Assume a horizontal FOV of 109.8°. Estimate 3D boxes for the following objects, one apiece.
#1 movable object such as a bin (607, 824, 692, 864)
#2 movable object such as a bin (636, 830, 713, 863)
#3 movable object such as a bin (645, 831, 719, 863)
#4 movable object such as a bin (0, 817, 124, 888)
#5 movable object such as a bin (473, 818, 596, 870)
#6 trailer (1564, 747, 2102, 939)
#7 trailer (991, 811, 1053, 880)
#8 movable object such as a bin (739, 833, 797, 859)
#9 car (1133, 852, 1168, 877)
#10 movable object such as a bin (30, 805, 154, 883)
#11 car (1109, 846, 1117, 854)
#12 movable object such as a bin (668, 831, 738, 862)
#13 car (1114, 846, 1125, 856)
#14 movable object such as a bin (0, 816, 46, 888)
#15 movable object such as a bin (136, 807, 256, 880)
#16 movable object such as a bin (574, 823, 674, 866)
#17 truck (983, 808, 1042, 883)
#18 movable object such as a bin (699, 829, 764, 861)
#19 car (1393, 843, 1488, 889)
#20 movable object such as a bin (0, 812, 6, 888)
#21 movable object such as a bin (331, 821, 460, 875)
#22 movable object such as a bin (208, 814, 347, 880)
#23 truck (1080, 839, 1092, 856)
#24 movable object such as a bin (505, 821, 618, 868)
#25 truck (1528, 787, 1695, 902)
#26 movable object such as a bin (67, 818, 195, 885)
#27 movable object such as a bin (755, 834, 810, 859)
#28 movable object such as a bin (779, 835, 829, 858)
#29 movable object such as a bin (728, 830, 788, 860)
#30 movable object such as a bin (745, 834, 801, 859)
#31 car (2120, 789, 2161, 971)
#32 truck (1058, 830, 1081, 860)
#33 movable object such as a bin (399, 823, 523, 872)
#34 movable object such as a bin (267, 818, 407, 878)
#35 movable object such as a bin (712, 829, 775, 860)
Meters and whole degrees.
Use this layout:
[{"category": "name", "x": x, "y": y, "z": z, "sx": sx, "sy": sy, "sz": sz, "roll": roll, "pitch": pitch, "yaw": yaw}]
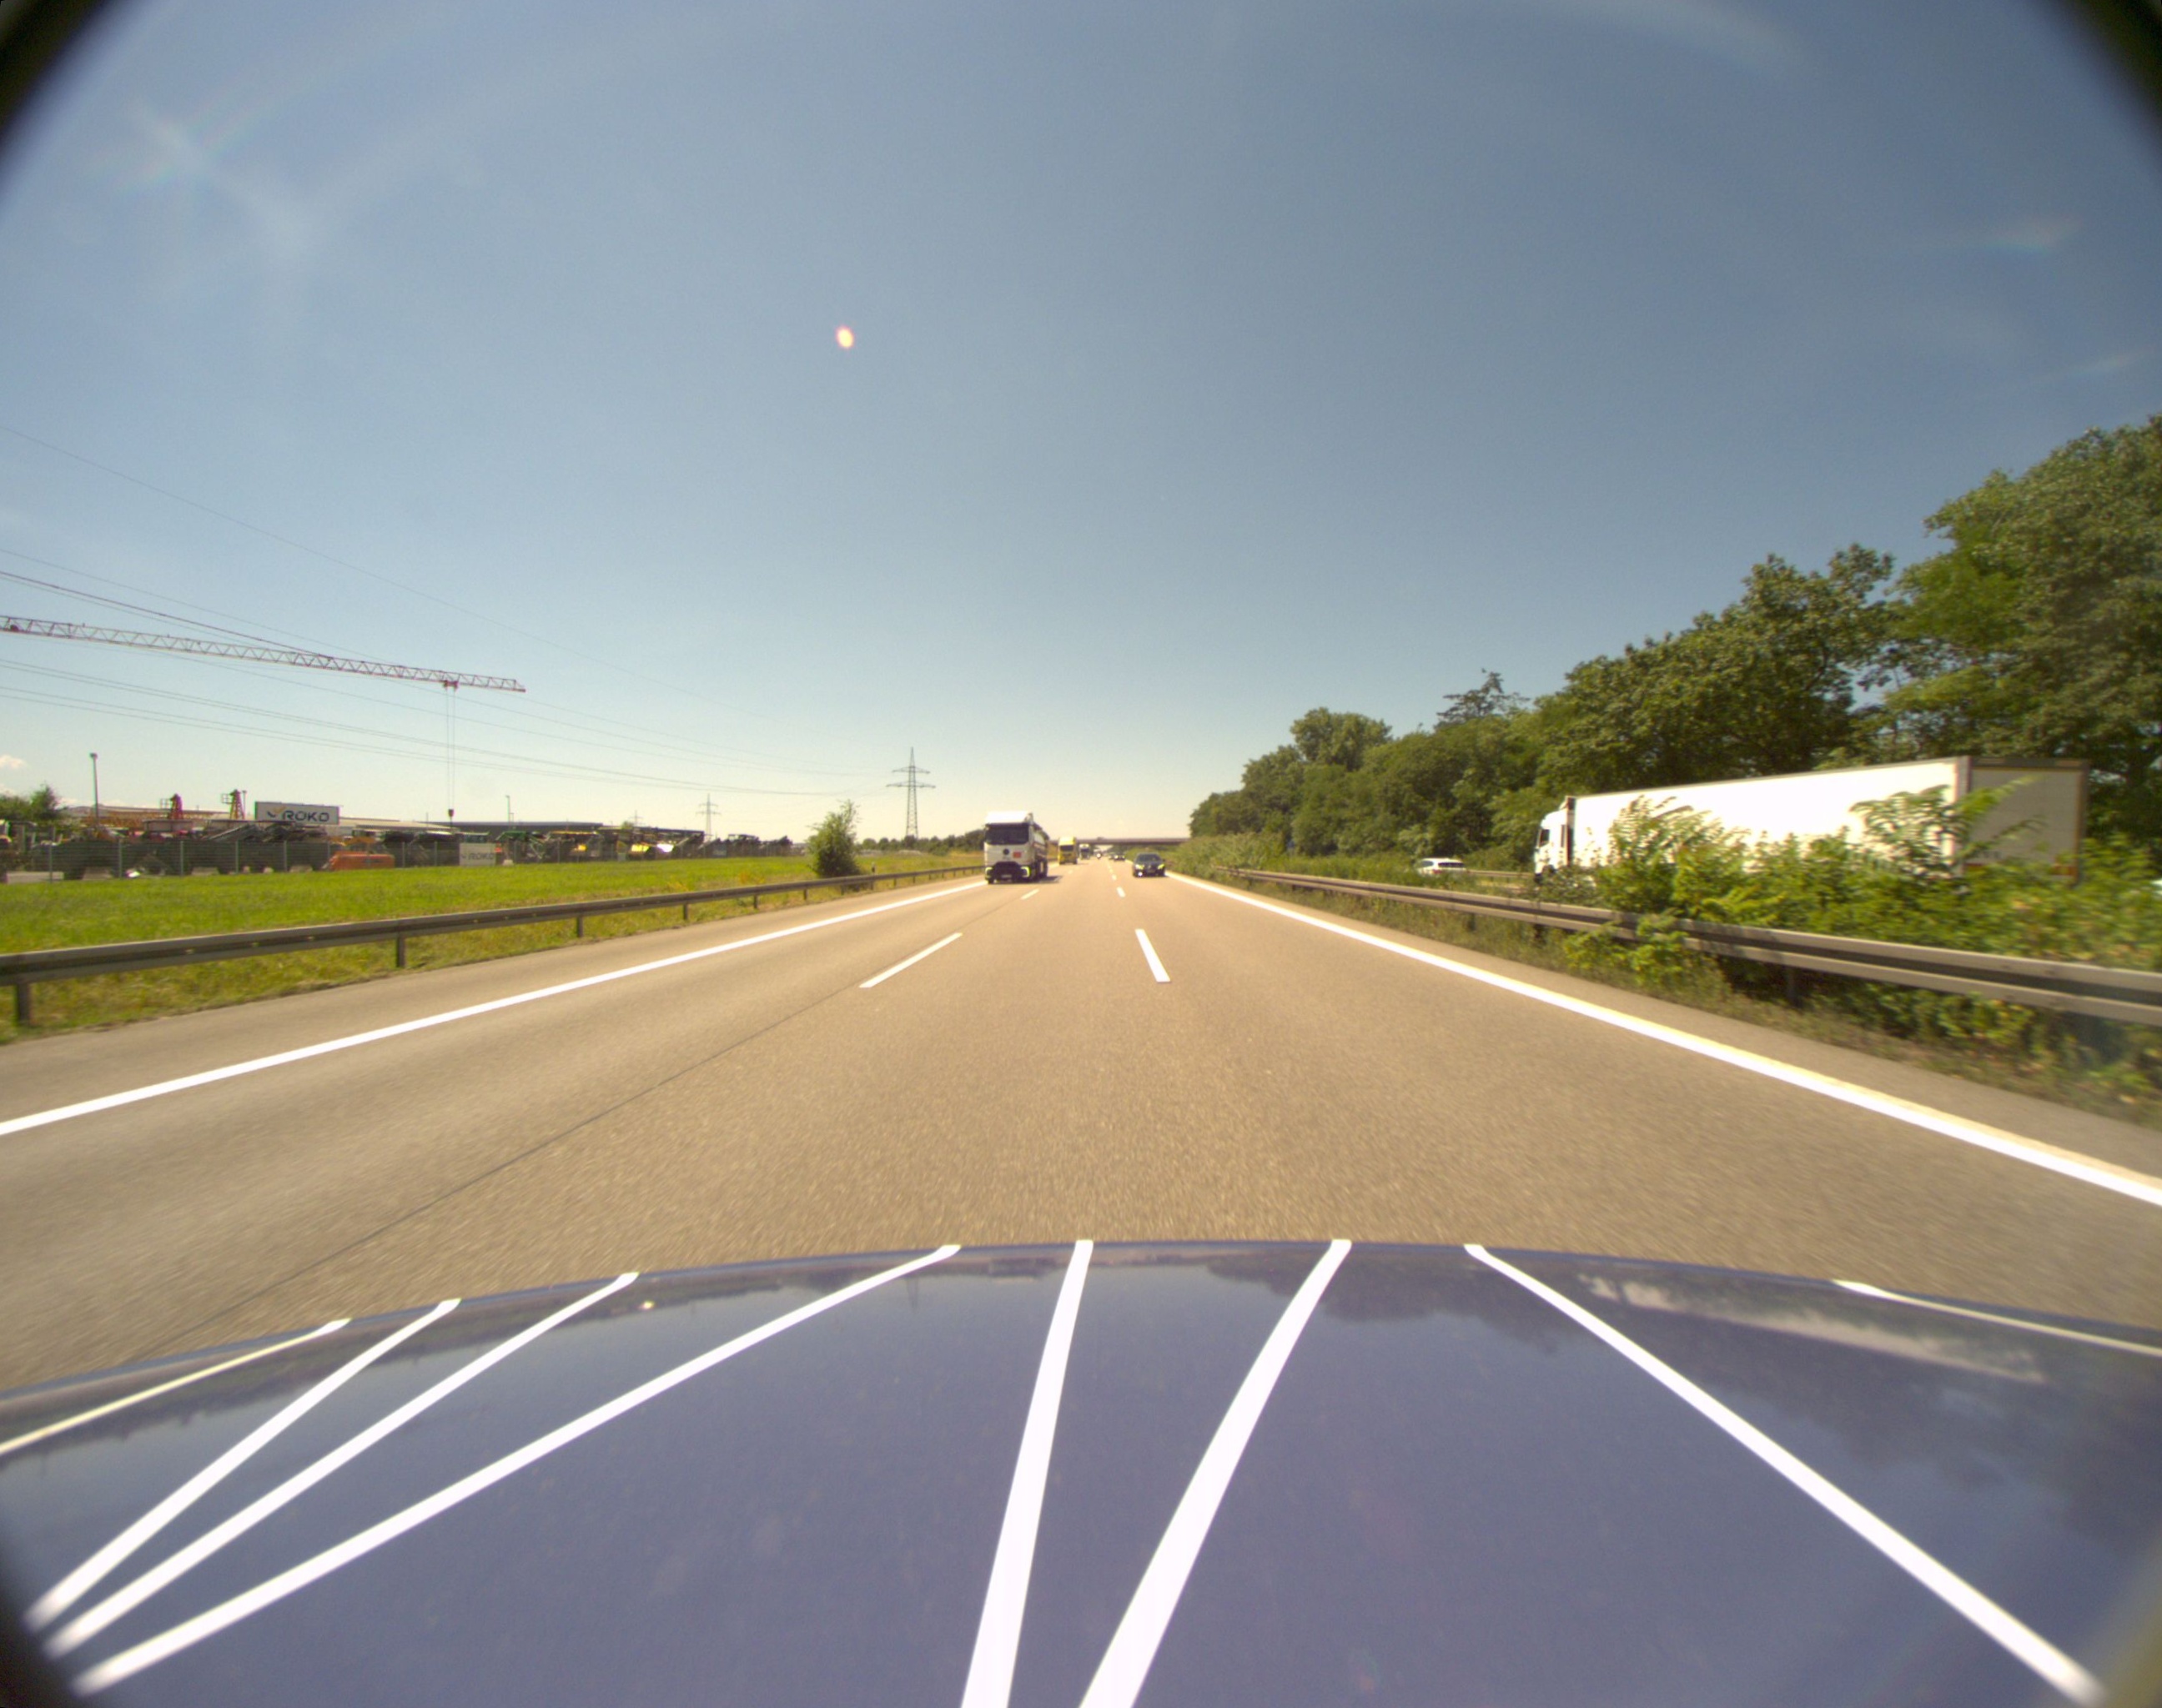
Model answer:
[{"category": "movable object such as a bin", "x": -51.617, "y": -1.195, "z": 91.112, "sx": 8.112, "sy": 4.486, "sz": 3.351, "roll": -2, "pitch": 1, "yaw": 3}, {"category": "movable object such as a bin", "x": -51.577, "y": -0.932, "z": 96.528, "sx": 8.112, "sy": 3.883, "sz": 2.881, "roll": -2, "pitch": 1, "yaw": 3}, {"category": "movable object such as a bin", "x": -52.542, "y": -0.932, "z": 100.188, "sx": 8.112, "sy": 3.883, "sz": 2.881, "roll": -2, "pitch": 1, "yaw": 3}, {"category": "movable object such as a bin", "x": -74.118, "y": -0.058, "z": 54.974, "sx": 9.584, "sy": 4.716, "sz": 3.142, "roll": -2, "pitch": 1, "yaw": 21}, {"category": "movable object such as a bin", "x": -53.011, "y": -0.963, "z": 73.840, "sx": 9.377, "sy": 4.486, "sz": 3.437, "roll": -2, "pitch": 1, "yaw": 3}, {"category": "trailer", "x": 20.607, "y": -0.307, "z": 23.388, "sx": 2.543, "sy": 4.067, "sz": 14.245, "roll": 1, "pitch": 1, "yaw": 1}, {"category": "trailer", "x": -3.587, "y": -0.566, "z": 49.613, "sx": 2.573, "sy": 3.871, "sz": 13.279, "roll": -2, "pitch": 1, "yaw": 1}, {"category": "movable object such as a bin", "x": -50.962, "y": -1.288, "z": 123.970, "sx": 8.112, "sy": 3.916, "sz": 2.881, "roll": -2, "pitch": 1, "yaw": 3}, {"category": "car", "x": 4.260, "y": 0.596, "z": 47.015, "sx": 1.808, "sy": 1.385, "sz": 4.000, "roll": -2, "pitch": 1, "yaw": 1}, {"category": "movable object such as a bin", "x": -57.100, "y": -0.458, "z": 43.819, "sx": 9.361, "sy": 4.029, "sz": 3.442, "roll": -2, "pitch": 1, "yaw": 33}, {"category": "car", "x": 7.022, "y": -0.839, "z": 167.020, "sx": 1.861, "sy": 1.696, "sz": 4.000, "roll": 0, "pitch": 1, "yaw": 1}, {"category": "movable object such as a bin", "x": -52.233, "y": -0.994, "z": 105.046, "sx": 8.112, "sy": 3.883, "sz": 2.881, "roll": -2, "pitch": 1, "yaw": 3}, {"category": "car", "x": 6.616, "y": -0.529, "z": 130.767, "sx": 1.861, "sy": 1.696, "sz": 4.000, "roll": 0, "pitch": 1, "yaw": 1}, {"category": "movable object such as a bin", "x": -74.273, "y": -0.016, "z": 51.443, "sx": 7.142, "sy": 4.716, "sz": 2.718, "roll": -2, "pitch": 1, "yaw": 19}, {"category": "movable object such as a bin", "x": -54.960, "y": -0.559, "z": 47.133, "sx": 9.361, "sy": 4.029, "sz": 3.442, "roll": -2, "pitch": 1, "yaw": 33}, {"category": "movable object such as a bin", "x": -52.418, "y": -1.125, "z": 87.293, "sx": 9.377, "sy": 4.486, "sz": 3.437, "roll": -2, "pitch": 1, "yaw": 3}, {"category": "truck", "x": -3.738, "y": -0.492, "z": 42.965, "sx": 2.573, "sy": 3.871, "sz": 5.723, "roll": -2, "pitch": 1, "yaw": 1}, {"category": "movable object such as a bin", "x": -51.457, "y": -1.381, "z": 111.903, "sx": 8.112, "sy": 4.349, "sz": 2.881, "roll": -2, "pitch": 1, "yaw": 3}, {"category": "car", "x": 16.807, "y": 0.504, "z": 35.834, "sx": 2.130, "sy": 2.043, "sz": 5.085, "roll": 0, "pitch": 1, "yaw": 1}, {"category": "movable object such as a bin", "x": -72.412, "y": -0.077, "z": 47.419, "sx": 8.476, "sy": 4.777, "sz": 3.296, "roll": -2, "pitch": 1, "yaw": 16}, {"category": "movable object such as a bin", "x": -57.152, "y": -0.447, "z": 63.396, "sx": 9.368, "sy": 4.029, "sz": 3.440, "roll": -2, "pitch": 1, "yaw": 16}, {"category": "movable object such as a bin", "x": -54.721, "y": -0.441, "z": 51.711, "sx": 9.364, "sy": 4.029, "sz": 3.441, "roll": -2, "pitch": 1, "yaw": 24}, {"category": "truck", "x": 1.489, "y": -1.759, "z": 204.144, "sx": 2.977, "sy": 4.240, "sz": 12.610, "roll": 0, "pitch": 1, "yaw": 1}, {"category": "movable object such as a bin", "x": -54.166, "y": -0.976, "z": 79.421, "sx": 9.377, "sy": 4.486, "sz": 3.437, "roll": -2, "pitch": 1, "yaw": 3}, {"category": "truck", "x": 20.739, "y": -0.380, "z": 30.162, "sx": 2.490, "sy": 4.067, "sz": 5.861, "roll": 1, "pitch": 1, "yaw": 1}, {"category": "movable object such as a bin", "x": -72.921, "y": -0.139, "z": 58.305, "sx": 9.584, "sy": 4.716, "sz": 3.142, "roll": -2, "pitch": 1, "yaw": 21}, {"category": "movable object such as a bin", "x": -51.402, "y": -1.343, "z": 130.961, "sx": 8.112, "sy": 3.916, "sz": 2.881, "roll": -2, "pitch": 1, "yaw": 3}, {"category": "movable object such as a bin", "x": -51.614, "y": -1.446, "z": 141.704, "sx": 8.112, "sy": 3.916, "sz": 2.881, "roll": -2, "pitch": 1, "yaw": 3}, {"category": "movable object such as a bin", "x": -51.126, "y": -1.480, "z": 120.279, "sx": 8.112, "sy": 4.349, "sz": 2.881, "roll": -2, "pitch": 1, "yaw": 3}, {"category": "movable object such as a bin", "x": -51.584, "y": -1.249, "z": 127.270, "sx": 8.112, "sy": 3.883, "sz": 2.881, "roll": -2, "pitch": 1, "yaw": 3}, {"category": "car", "x": 15.606, "y": 0.366, "z": 8.080, "sx": 2.130, "sy": 2.452, "sz": 5.085, "roll": 0, "pitch": 1, "yaw": 1}, {"category": "truck", "x": -1.550, "y": -1.335, "z": 113.181, "sx": 2.977, "sy": 4.240, "sz": 12.610, "roll": 0, "pitch": 1, "yaw": 1}, {"category": "movable object such as a bin", "x": -55.639, "y": -0.569, "z": 68.275, "sx": 9.370, "sy": 4.029, "sz": 3.439, "roll": -2, "pitch": 1, "yaw": 13}, {"category": "movable object such as a bin", "x": -55.316, "y": -0.430, "z": 56.502, "sx": 9.366, "sy": 4.029, "sz": 3.441, "roll": -2, "pitch": 1, "yaw": 19}, {"category": "movable object such as a bin", "x": -51.302, "y": -1.424, "z": 115.499, "sx": 8.112, "sy": 4.349, "sz": 2.881, "roll": -2, "pitch": 1, "yaw": 3}]
